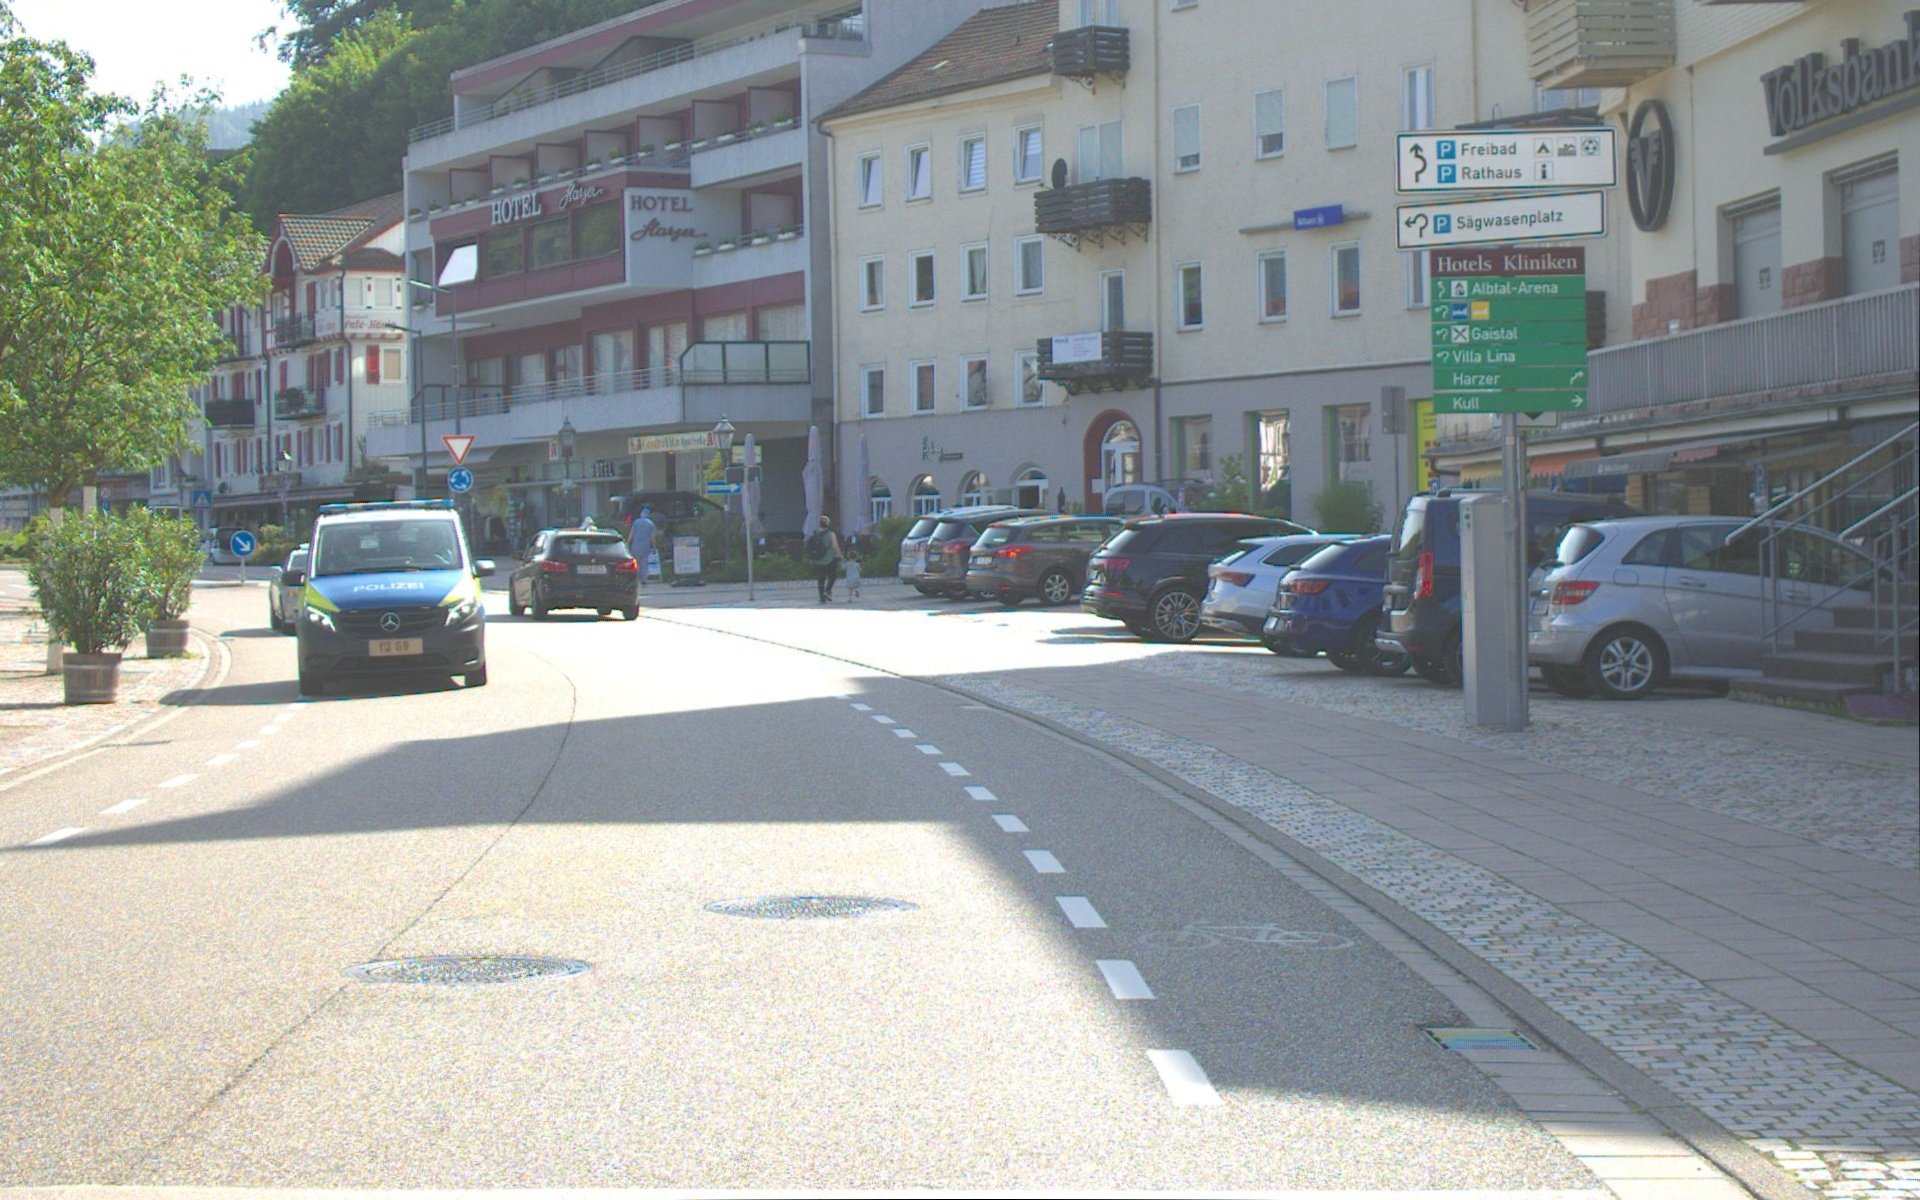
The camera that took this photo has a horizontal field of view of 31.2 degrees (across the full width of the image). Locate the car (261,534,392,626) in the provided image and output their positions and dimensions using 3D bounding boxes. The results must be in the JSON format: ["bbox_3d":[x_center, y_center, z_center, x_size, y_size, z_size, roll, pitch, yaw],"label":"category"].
[{"bbox_3d":[-10.277,-0.330,55.612,1.627,1.366,4.064,-3,1,-16],"label":"car"}]

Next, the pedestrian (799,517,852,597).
[{"bbox_3d":[-2.503,-0.805,63.860,0.735,1.437,0.633,-3,2,-23],"label":"pedestrian"}]

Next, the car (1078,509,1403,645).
[{"bbox_3d":[3.741,-0.314,46.297,4.083,1.660,1.773,2,1,-4],"label":"car"}]

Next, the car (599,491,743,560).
[{"bbox_3d":[-7.106,-1.835,84.438,3.163,1.657,1.595,-1,1,-24],"label":"car"}]

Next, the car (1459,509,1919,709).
[{"bbox_3d":[6.418,0.062,29.484,3.909,1.583,1.775,1,1,-4],"label":"car"}]

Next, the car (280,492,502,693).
[{"bbox_3d":[-6.039,-0.113,36.986,1.854,1.946,5.018,-2,1,-4],"label":"car"}]

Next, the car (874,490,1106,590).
[{"bbox_3d":[0.552,-1.133,64.063,3.860,1.607,1.773,-4,3,-24],"label":"car"}]

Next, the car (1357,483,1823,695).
[{"bbox_3d":[5.856,-0.099,32.240,3.909,1.798,1.858,2,0,-4],"label":"car"}]

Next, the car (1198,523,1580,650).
[{"bbox_3d":[5.130,-0.154,41.480,4.356,1.456,1.772,1,0,-1],"label":"car"}]

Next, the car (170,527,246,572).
[{"bbox_3d":[-27.650,-1.851,126.379,1.676,1.615,4.000,-1,1,-28],"label":"car"}]

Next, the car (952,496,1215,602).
[{"bbox_3d":[2.096,-0.890,58.204,4.009,1.511,1.773,-4,3,-24],"label":"car"}]

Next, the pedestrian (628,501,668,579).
[{"bbox_3d":[-6.968,-1.341,76.815,0.668,1.723,0.708,-1,1,-26],"label":"pedestrian"}]

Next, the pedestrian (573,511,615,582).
[{"bbox_3d":[-8.192,-1.200,76.891,0.757,1.588,0.628,-1,1,-26],"label":"pedestrian"}]

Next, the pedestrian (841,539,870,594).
[{"bbox_3d":[-1.950,-0.626,63.978,0.417,0.998,0.531,-3,2,-11],"label":"pedestrian"}]

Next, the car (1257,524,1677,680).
[{"bbox_3d":[5.098,0.006,34.886,3.909,1.456,1.736,1,1,-4],"label":"car"}]

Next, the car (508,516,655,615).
[{"bbox_3d":[-6.569,-0.629,59.396,1.727,1.569,3.754,-1,3,-19],"label":"car"}]

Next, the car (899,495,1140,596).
[{"bbox_3d":[1.060,-0.999,61.607,3.860,1.544,1.773,-4,3,-24],"label":"car"}]
